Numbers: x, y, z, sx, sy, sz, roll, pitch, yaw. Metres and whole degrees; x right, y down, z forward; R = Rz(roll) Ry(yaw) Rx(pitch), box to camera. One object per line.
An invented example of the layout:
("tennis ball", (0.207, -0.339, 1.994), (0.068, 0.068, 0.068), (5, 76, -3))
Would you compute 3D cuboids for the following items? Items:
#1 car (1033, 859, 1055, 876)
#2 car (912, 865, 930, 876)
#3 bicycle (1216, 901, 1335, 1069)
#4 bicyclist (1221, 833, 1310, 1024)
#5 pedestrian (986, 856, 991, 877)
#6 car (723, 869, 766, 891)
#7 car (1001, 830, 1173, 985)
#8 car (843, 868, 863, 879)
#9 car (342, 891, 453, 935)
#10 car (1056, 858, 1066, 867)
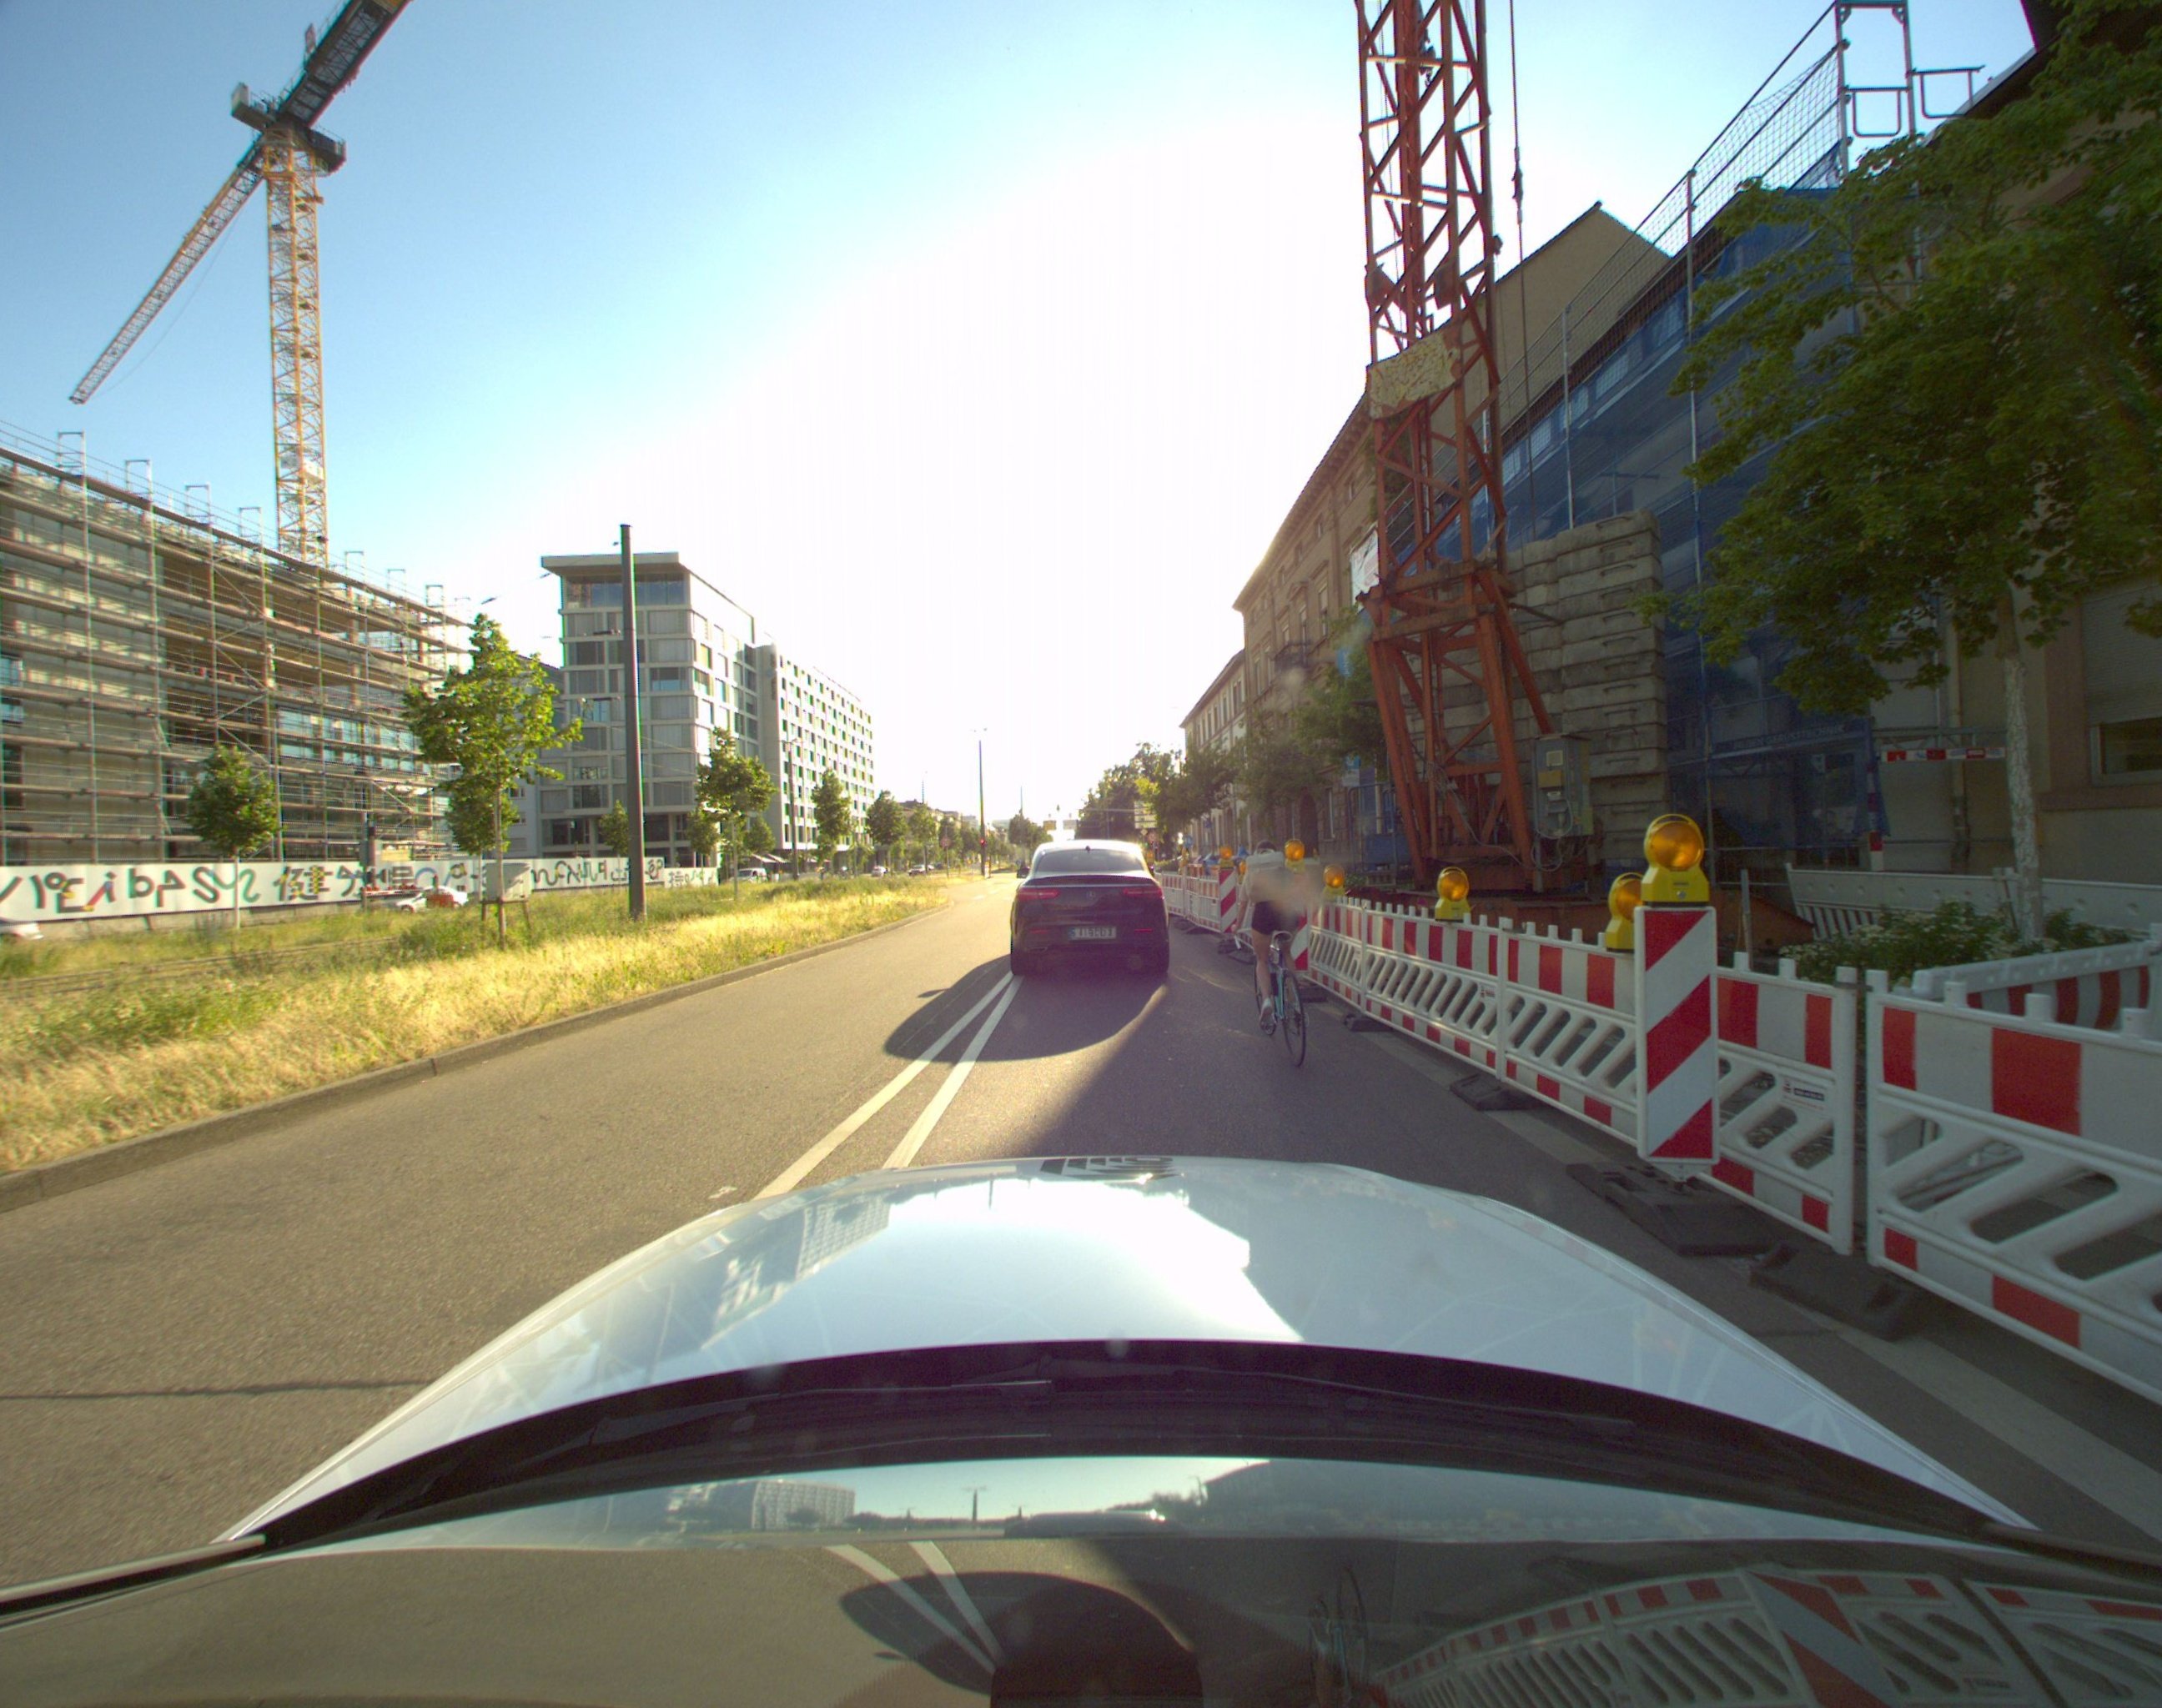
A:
("car", (-3.178, 1.158, 70.959), (1.703, 1.442, 3.582), (-2, 0, 0))
("car", (-21.354, 2.163, 108.890), (1.703, 1.442, 3.582), (-1, 0, 0))
("bicycle", (1.478, 0.946, 6.458), (0.510, 1.052, 1.725), (-1, 0, 0))
("bicyclist", (1.413, 0.550, 6.315), (0.521, 1.395, 0.614), (-1, -1, -1))
("pedestrian", (-7.771, 1.054, 68.565), (0.333, 1.763, 0.418), (-1, -1, 0))
("car", (-27.738, 2.127, 67.229), (1.781, 1.684, 3.643), (-1, 0, 5))
("car", (0.147, 0.631, 11.491), (1.986, 1.772, 4.002), (-1, 0, 2))
("car", (-31.420, 2.725, 112.159), (1.703, 1.442, 3.582), (-1, 0, 0))
("car", (-30.114, 2.555, 36.015), (1.783, 1.684, 3.639), (-1, 0, 1))
("car", (-3.525, 1.536, 147.162), (1.703, 1.442, 3.582), (-1, 0, 0))
